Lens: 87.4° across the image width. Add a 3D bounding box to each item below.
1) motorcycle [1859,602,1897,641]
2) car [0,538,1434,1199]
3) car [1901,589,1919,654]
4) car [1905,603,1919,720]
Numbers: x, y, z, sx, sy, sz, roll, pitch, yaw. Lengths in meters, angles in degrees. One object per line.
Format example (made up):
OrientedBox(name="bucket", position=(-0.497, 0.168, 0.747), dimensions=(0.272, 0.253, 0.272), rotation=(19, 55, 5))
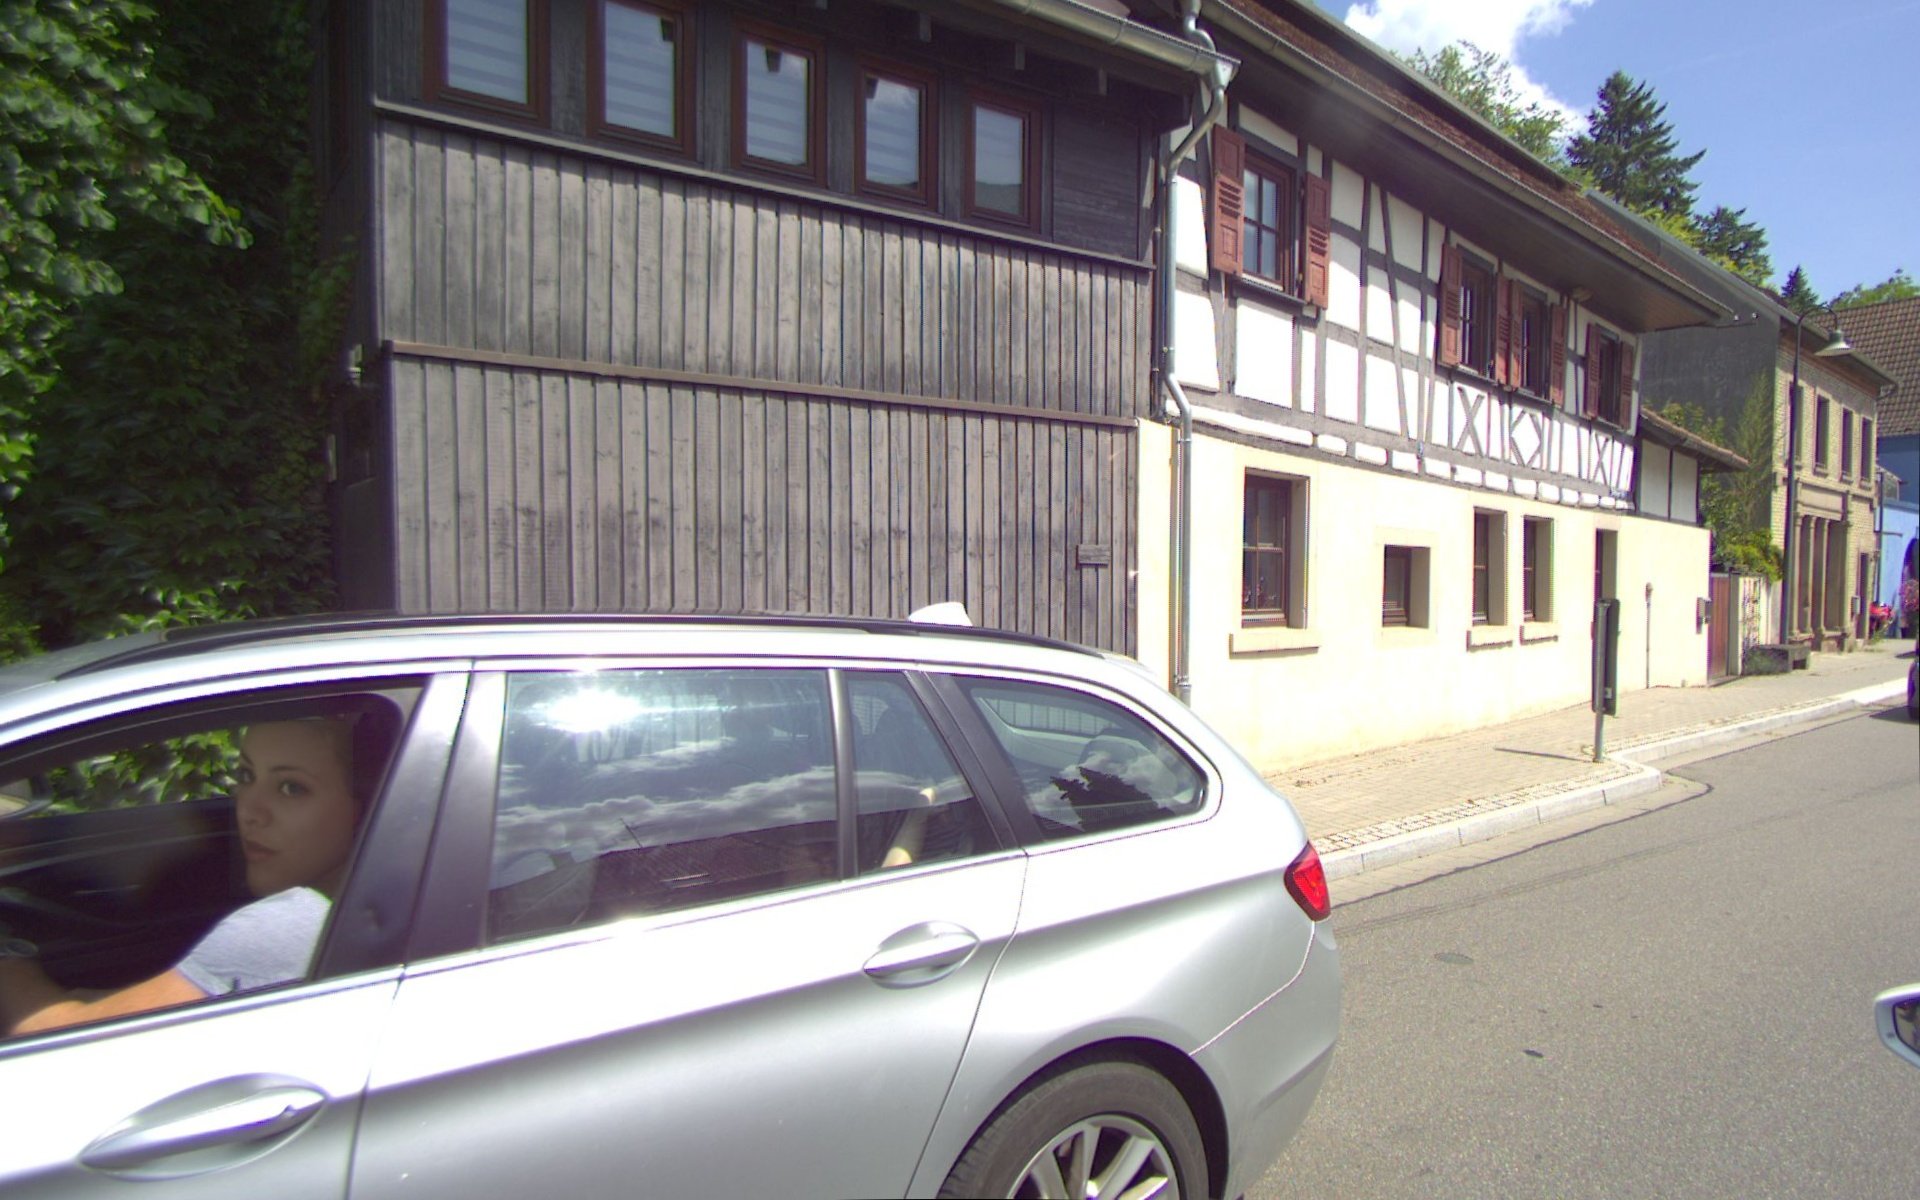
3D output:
OrientedBox(name="motorcycle", position=(25.298, 0.585, 27.684), dimensions=(1.842, 1.014, 0.414), rotation=(0, 6, -39))
OrientedBox(name="car", position=(-1.265, 0.711, 1.912), dimensions=(4.565, 1.520, 1.884), rotation=(1, -1, -34))
OrientedBox(name="car", position=(24.096, 0.516, 23.808), dimensions=(4.506, 1.485, 1.941), rotation=(0, 2, -39))
OrientedBox(name="car", position=(14.324, 0.830, 13.521), dimensions=(4.396, 1.485, 1.685), rotation=(1, 2, -39))
